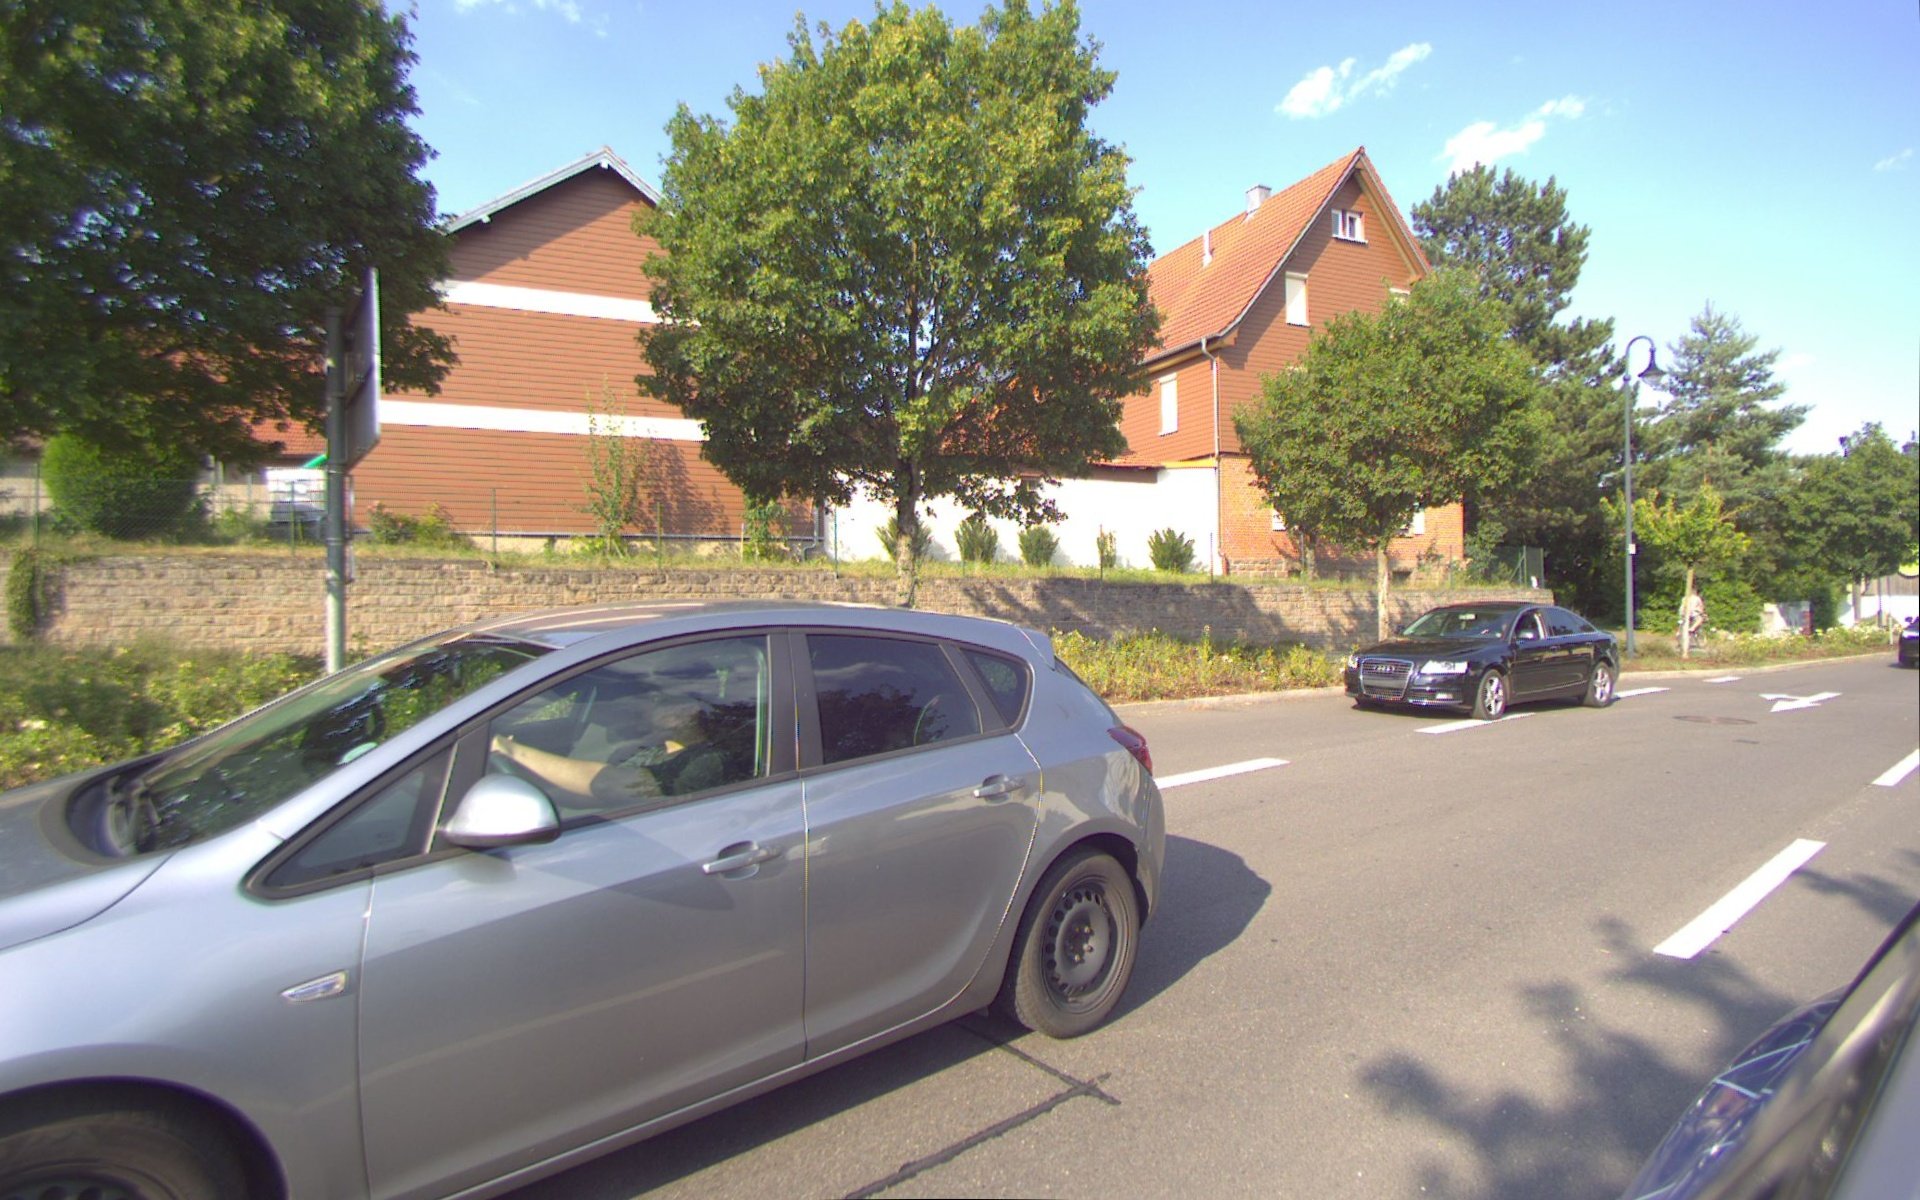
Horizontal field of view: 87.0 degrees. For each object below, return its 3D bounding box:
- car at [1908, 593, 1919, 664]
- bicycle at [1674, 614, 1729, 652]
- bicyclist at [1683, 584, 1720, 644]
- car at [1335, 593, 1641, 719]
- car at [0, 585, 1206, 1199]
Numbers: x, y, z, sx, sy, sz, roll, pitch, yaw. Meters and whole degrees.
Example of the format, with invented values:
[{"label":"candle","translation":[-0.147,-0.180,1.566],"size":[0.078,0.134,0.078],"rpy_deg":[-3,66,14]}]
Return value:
[{"label":"car","translation":[24.177,0.644,24.121],"size":[4.055,1.629,1.885],"rpy_deg":[0,0,-40]},{"label":"bicycle","translation":[21.234,0.941,28.977],"size":[1.838,1.031,0.523],"rpy_deg":[0,0,-29]},{"label":"bicyclist","translation":[21.252,0.393,29.003],"size":[0.719,1.699,0.605],"rpy_deg":[0,0,-28]},{"label":"car","translation":[7.187,0.631,13.629],"size":[4.500,1.453,1.687],"rpy_deg":[0,0,-33]},{"label":"car","translation":[-1.172,0.696,3.091],"size":[4.095,1.460,1.746],"rpy_deg":[0,0,-42]}]
